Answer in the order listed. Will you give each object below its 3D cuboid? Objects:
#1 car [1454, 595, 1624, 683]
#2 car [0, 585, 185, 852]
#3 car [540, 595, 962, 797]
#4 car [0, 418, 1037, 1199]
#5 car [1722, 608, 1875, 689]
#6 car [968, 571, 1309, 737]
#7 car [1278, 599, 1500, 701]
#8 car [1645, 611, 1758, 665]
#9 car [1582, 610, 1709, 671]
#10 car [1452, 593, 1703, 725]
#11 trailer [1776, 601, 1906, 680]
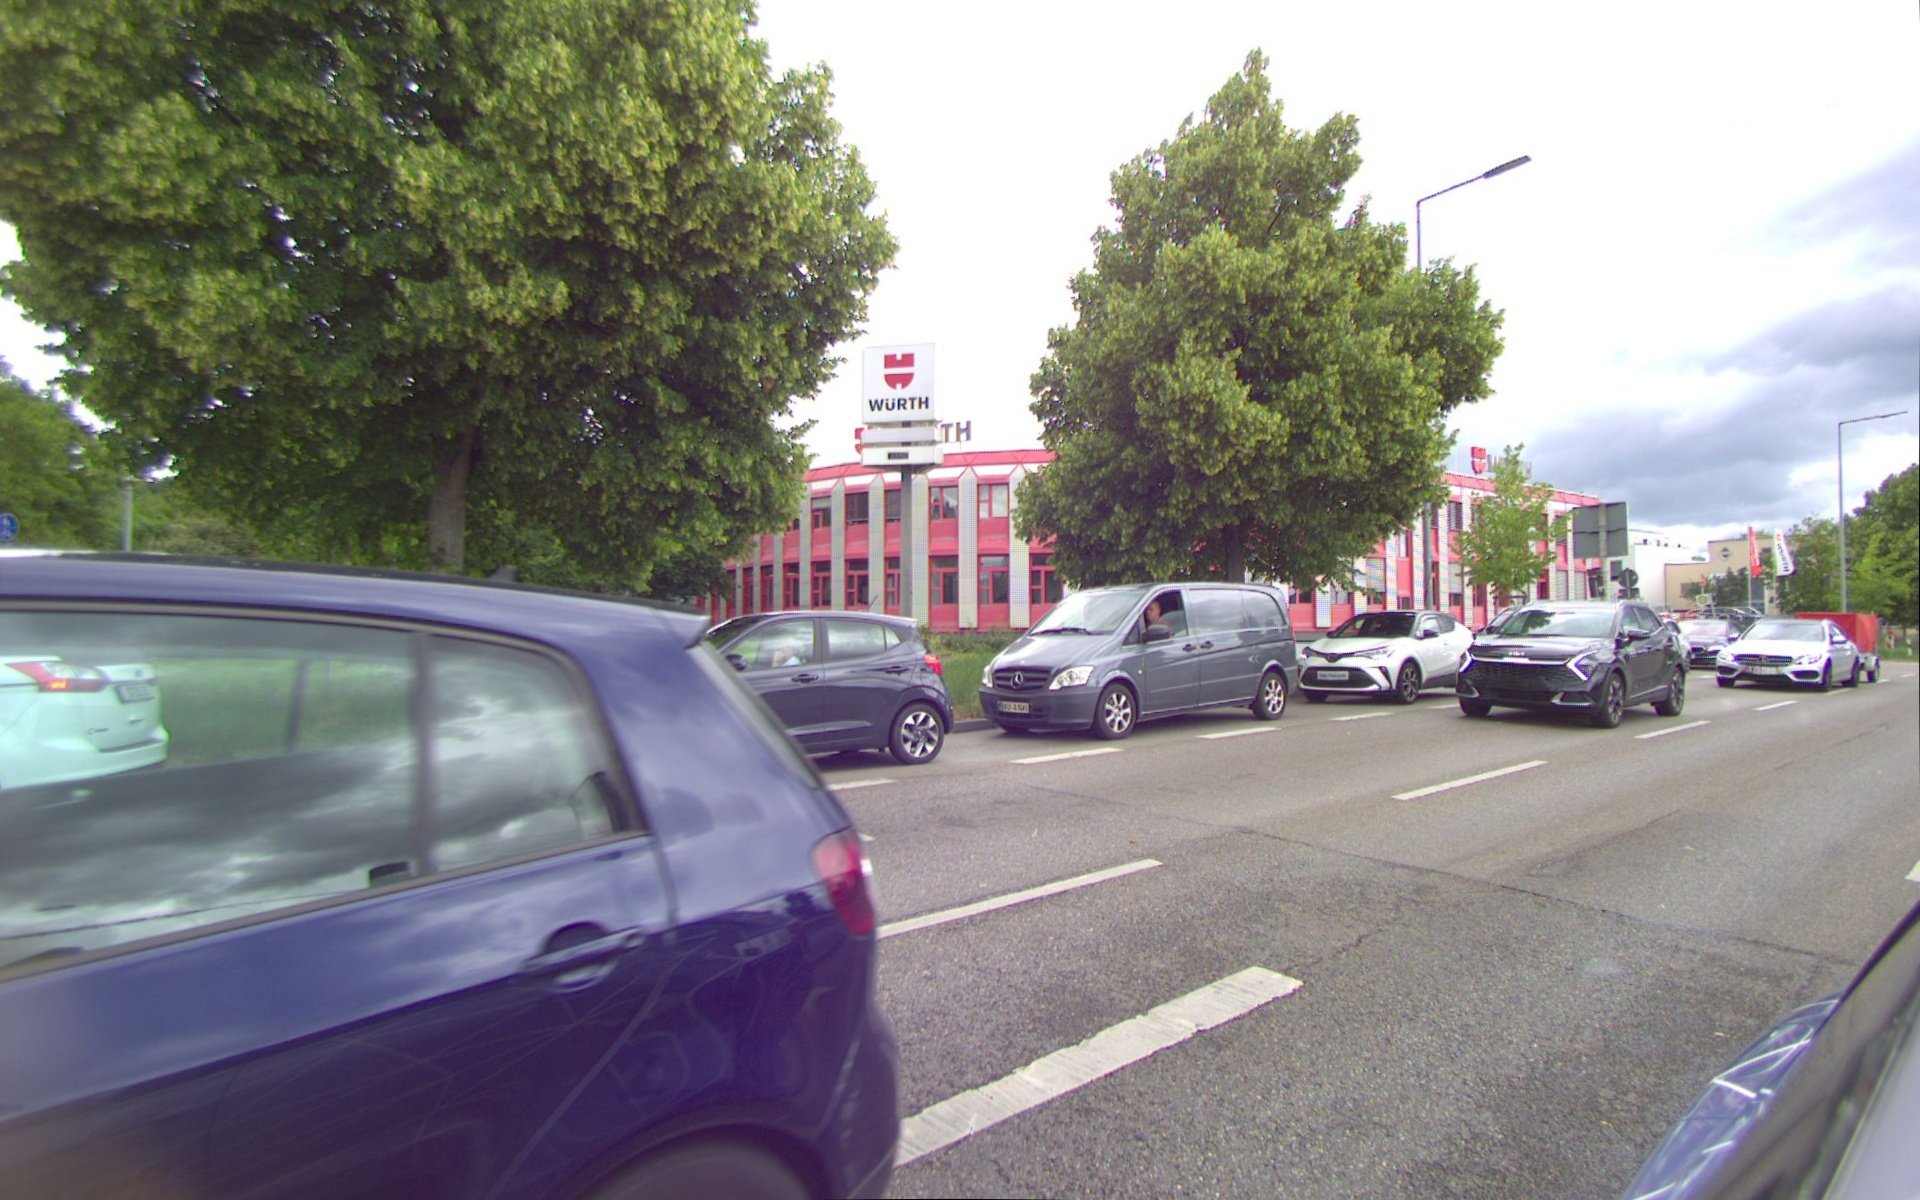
[{"bbox_3d":[12.390,0.810,21.571,4.133,1.679,1.863,1,-3,-41],"label":"car"},{"bbox_3d":[-7.914,0.753,6.539,4.278,1.676,1.767,0,-1,-23],"label":"car"},{"bbox_3d":[-1.899,0.775,9.477,3.495,1.526,1.607,-1,-3,-34],"label":"car"},{"bbox_3d":[-1.858,0.621,1.404,3.927,1.618,1.667,-1,0,-41],"label":"car"},{"bbox_3d":[17.891,0.939,21.526,4.323,1.469,1.774,-1,1,-40],"label":"car"},{"bbox_3d":[2.430,0.664,13.072,4.591,1.798,1.761,1,-4,-40],"label":"car"},{"bbox_3d":[7.405,0.805,17.313,4.034,1.536,1.842,0,-4,-41],"label":"car"},{"bbox_3d":[21.638,1.044,29.478,4.293,1.458,1.761,0,-1,-41],"label":"car"},{"bbox_3d":[18.114,1.013,26.673,4.293,1.458,1.761,0,-1,-41],"label":"car"},{"bbox_3d":[8.702,0.689,14.137,4.144,1.549,1.797,-1,1,-40],"label":"car"},{"bbox_3d":[21.055,0.892,24.148,3.926,1.680,1.774,-1,0,-40],"label":"trailer"}]
